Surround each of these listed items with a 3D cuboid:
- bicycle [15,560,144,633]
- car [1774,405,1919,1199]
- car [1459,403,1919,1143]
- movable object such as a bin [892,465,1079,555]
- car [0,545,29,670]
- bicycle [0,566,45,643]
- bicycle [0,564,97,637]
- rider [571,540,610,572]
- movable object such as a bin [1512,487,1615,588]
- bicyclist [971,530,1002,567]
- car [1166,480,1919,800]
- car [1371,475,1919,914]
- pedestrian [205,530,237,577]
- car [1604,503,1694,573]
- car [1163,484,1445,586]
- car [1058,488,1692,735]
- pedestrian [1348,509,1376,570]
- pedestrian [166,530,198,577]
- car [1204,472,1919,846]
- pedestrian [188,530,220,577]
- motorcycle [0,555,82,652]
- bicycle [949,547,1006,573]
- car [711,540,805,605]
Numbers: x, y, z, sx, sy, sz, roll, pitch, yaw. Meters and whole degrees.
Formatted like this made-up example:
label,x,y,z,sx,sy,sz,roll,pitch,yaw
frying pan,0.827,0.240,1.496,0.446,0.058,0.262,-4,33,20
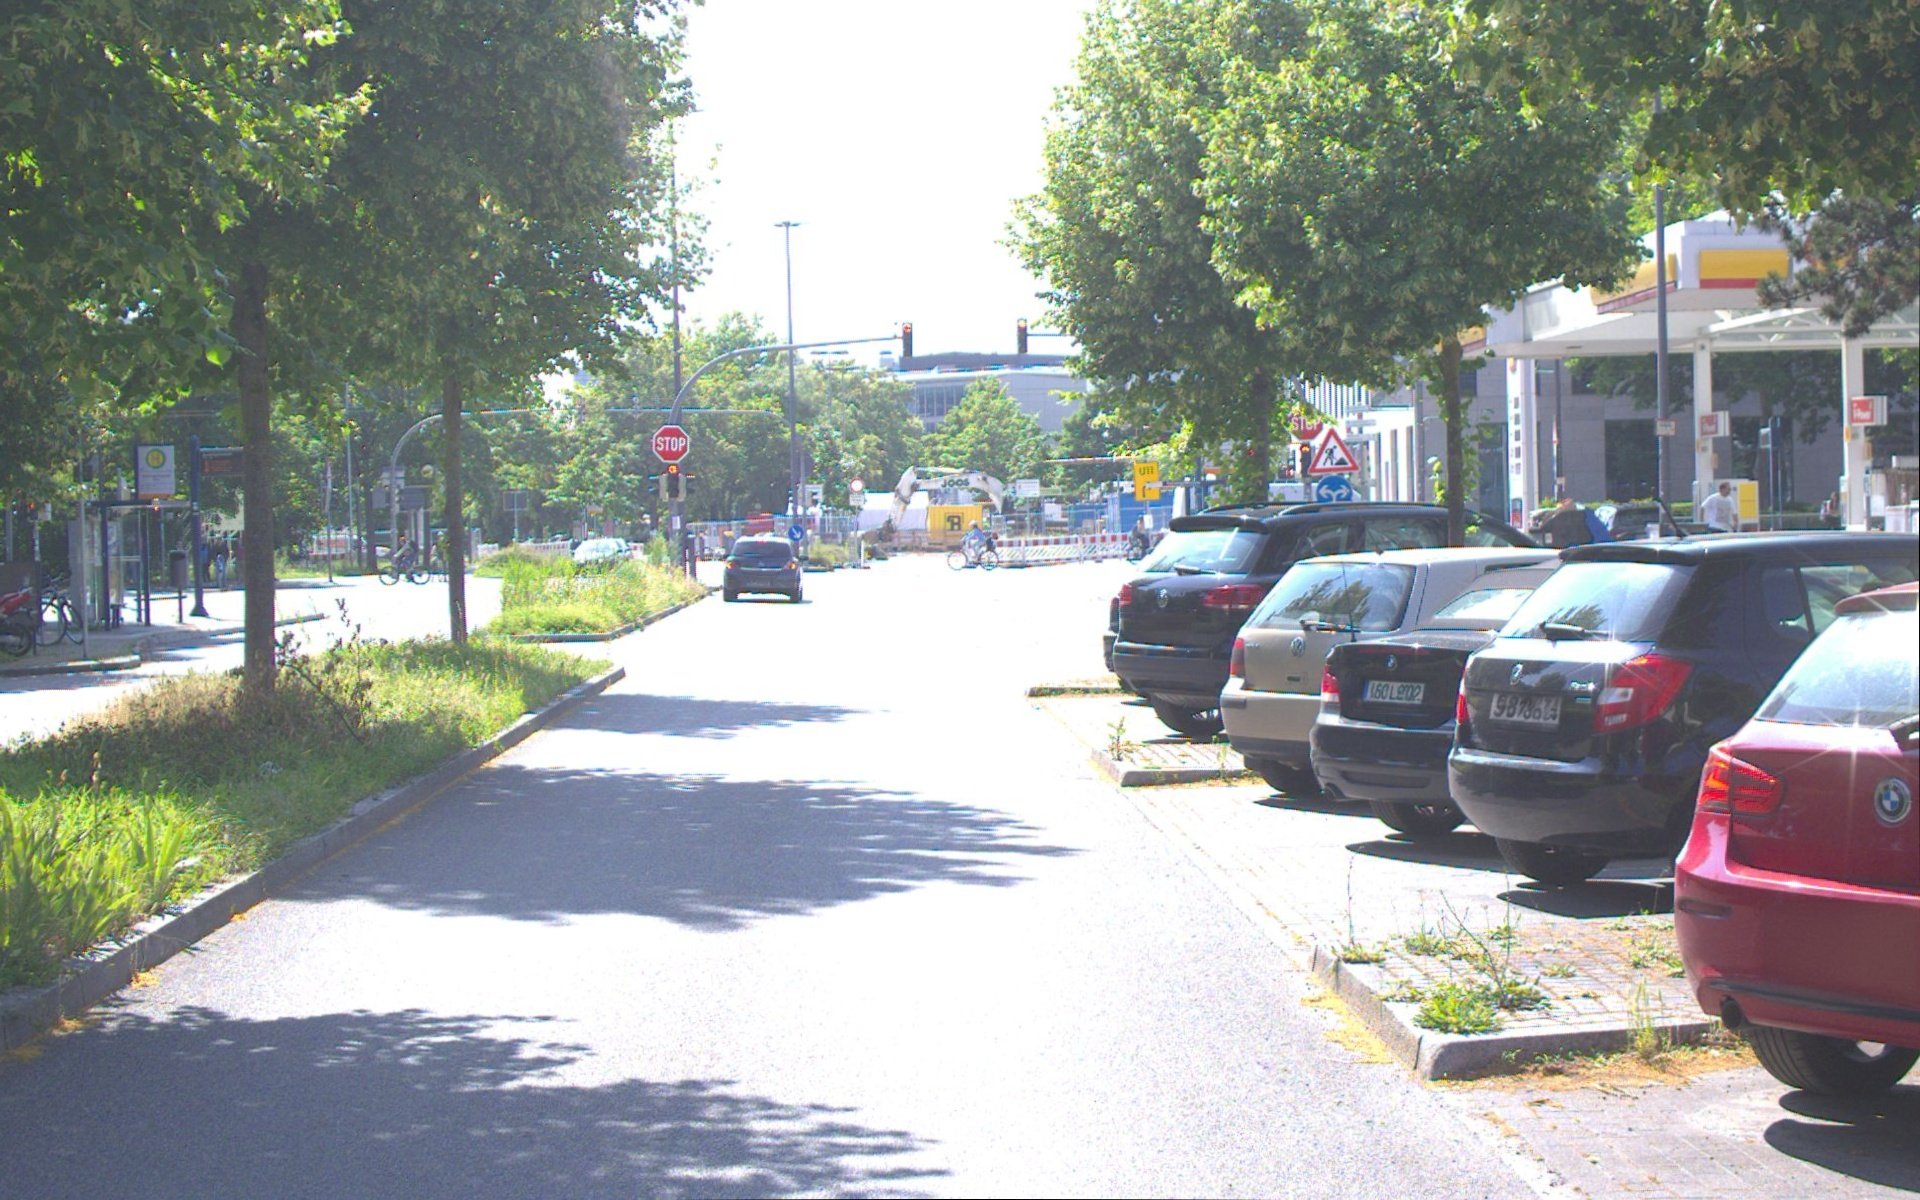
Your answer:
label,x,y,z,sx,sy,sz,roll,pitch,yaw
bicycle,-13.939,-0.063,54.442,1.845,1.118,0.693,-1,1,0
car,3.641,0.455,6.078,4.107,1.634,2.044,-2,1,-35
car,3.400,0.340,9.164,3.988,1.634,1.880,-2,1,-40
movable object such as a bin,1.341,-4.732,180.130,9.675,4.534,3.164,-1,1,0
car,-12.718,0.122,38.913,3.764,1.418,1.855,-2,2,-42
bicycle,-14.231,0.074,49.598,1.845,1.088,0.693,-1,1,0
bicycle,-14.370,0.006,53.197,1.845,1.102,0.693,-1,1,0
rider,-14.234,-1.708,132.434,1.391,1.191,2.698,-1,1,-4
movable object such as a bin,10.108,-1.046,57.624,1.307,1.586,1.396,-4,1,-4
bicyclist,0.925,-1.811,120.939,1.052,1.270,0.492,-1,1,-2
car,3.344,0.177,19.446,3.986,1.634,1.753,-1,1,-13
car,3.946,0.303,14.488,3.986,1.634,1.801,-2,1,-20
pedestrian,-25.559,-1.625,118.879,0.655,1.606,0.941,0,1,22
car,14.267,-1.293,71.325,1.650,1.393,3.640,-1,1,9
car,9.600,-1.856,96.429,7.427,2.665,2.903,-1,2,-5
car,3.166,0.029,25.727,4.731,1.654,1.753,-2,1,-35
pedestrian,10.184,-1.533,87.015,0.618,1.538,0.461,-1,1,-2
pedestrian,-27.069,-1.613,119.620,0.655,1.606,0.941,0,1,22
car,3.395,0.210,17.034,3.986,1.634,1.753,-2,2,-23
pedestrian,-26.293,-1.627,119.610,0.655,1.606,0.941,0,1,22
motorcycle,-12.918,0.053,46.657,1.845,1.280,0.693,-1,1,-8
bicycle,0.614,-1.395,120.949,1.999,0.880,0.527,-1,1,-2
car,-4.572,-0.641,77.372,1.993,1.393,4.001,-1,1,-5
